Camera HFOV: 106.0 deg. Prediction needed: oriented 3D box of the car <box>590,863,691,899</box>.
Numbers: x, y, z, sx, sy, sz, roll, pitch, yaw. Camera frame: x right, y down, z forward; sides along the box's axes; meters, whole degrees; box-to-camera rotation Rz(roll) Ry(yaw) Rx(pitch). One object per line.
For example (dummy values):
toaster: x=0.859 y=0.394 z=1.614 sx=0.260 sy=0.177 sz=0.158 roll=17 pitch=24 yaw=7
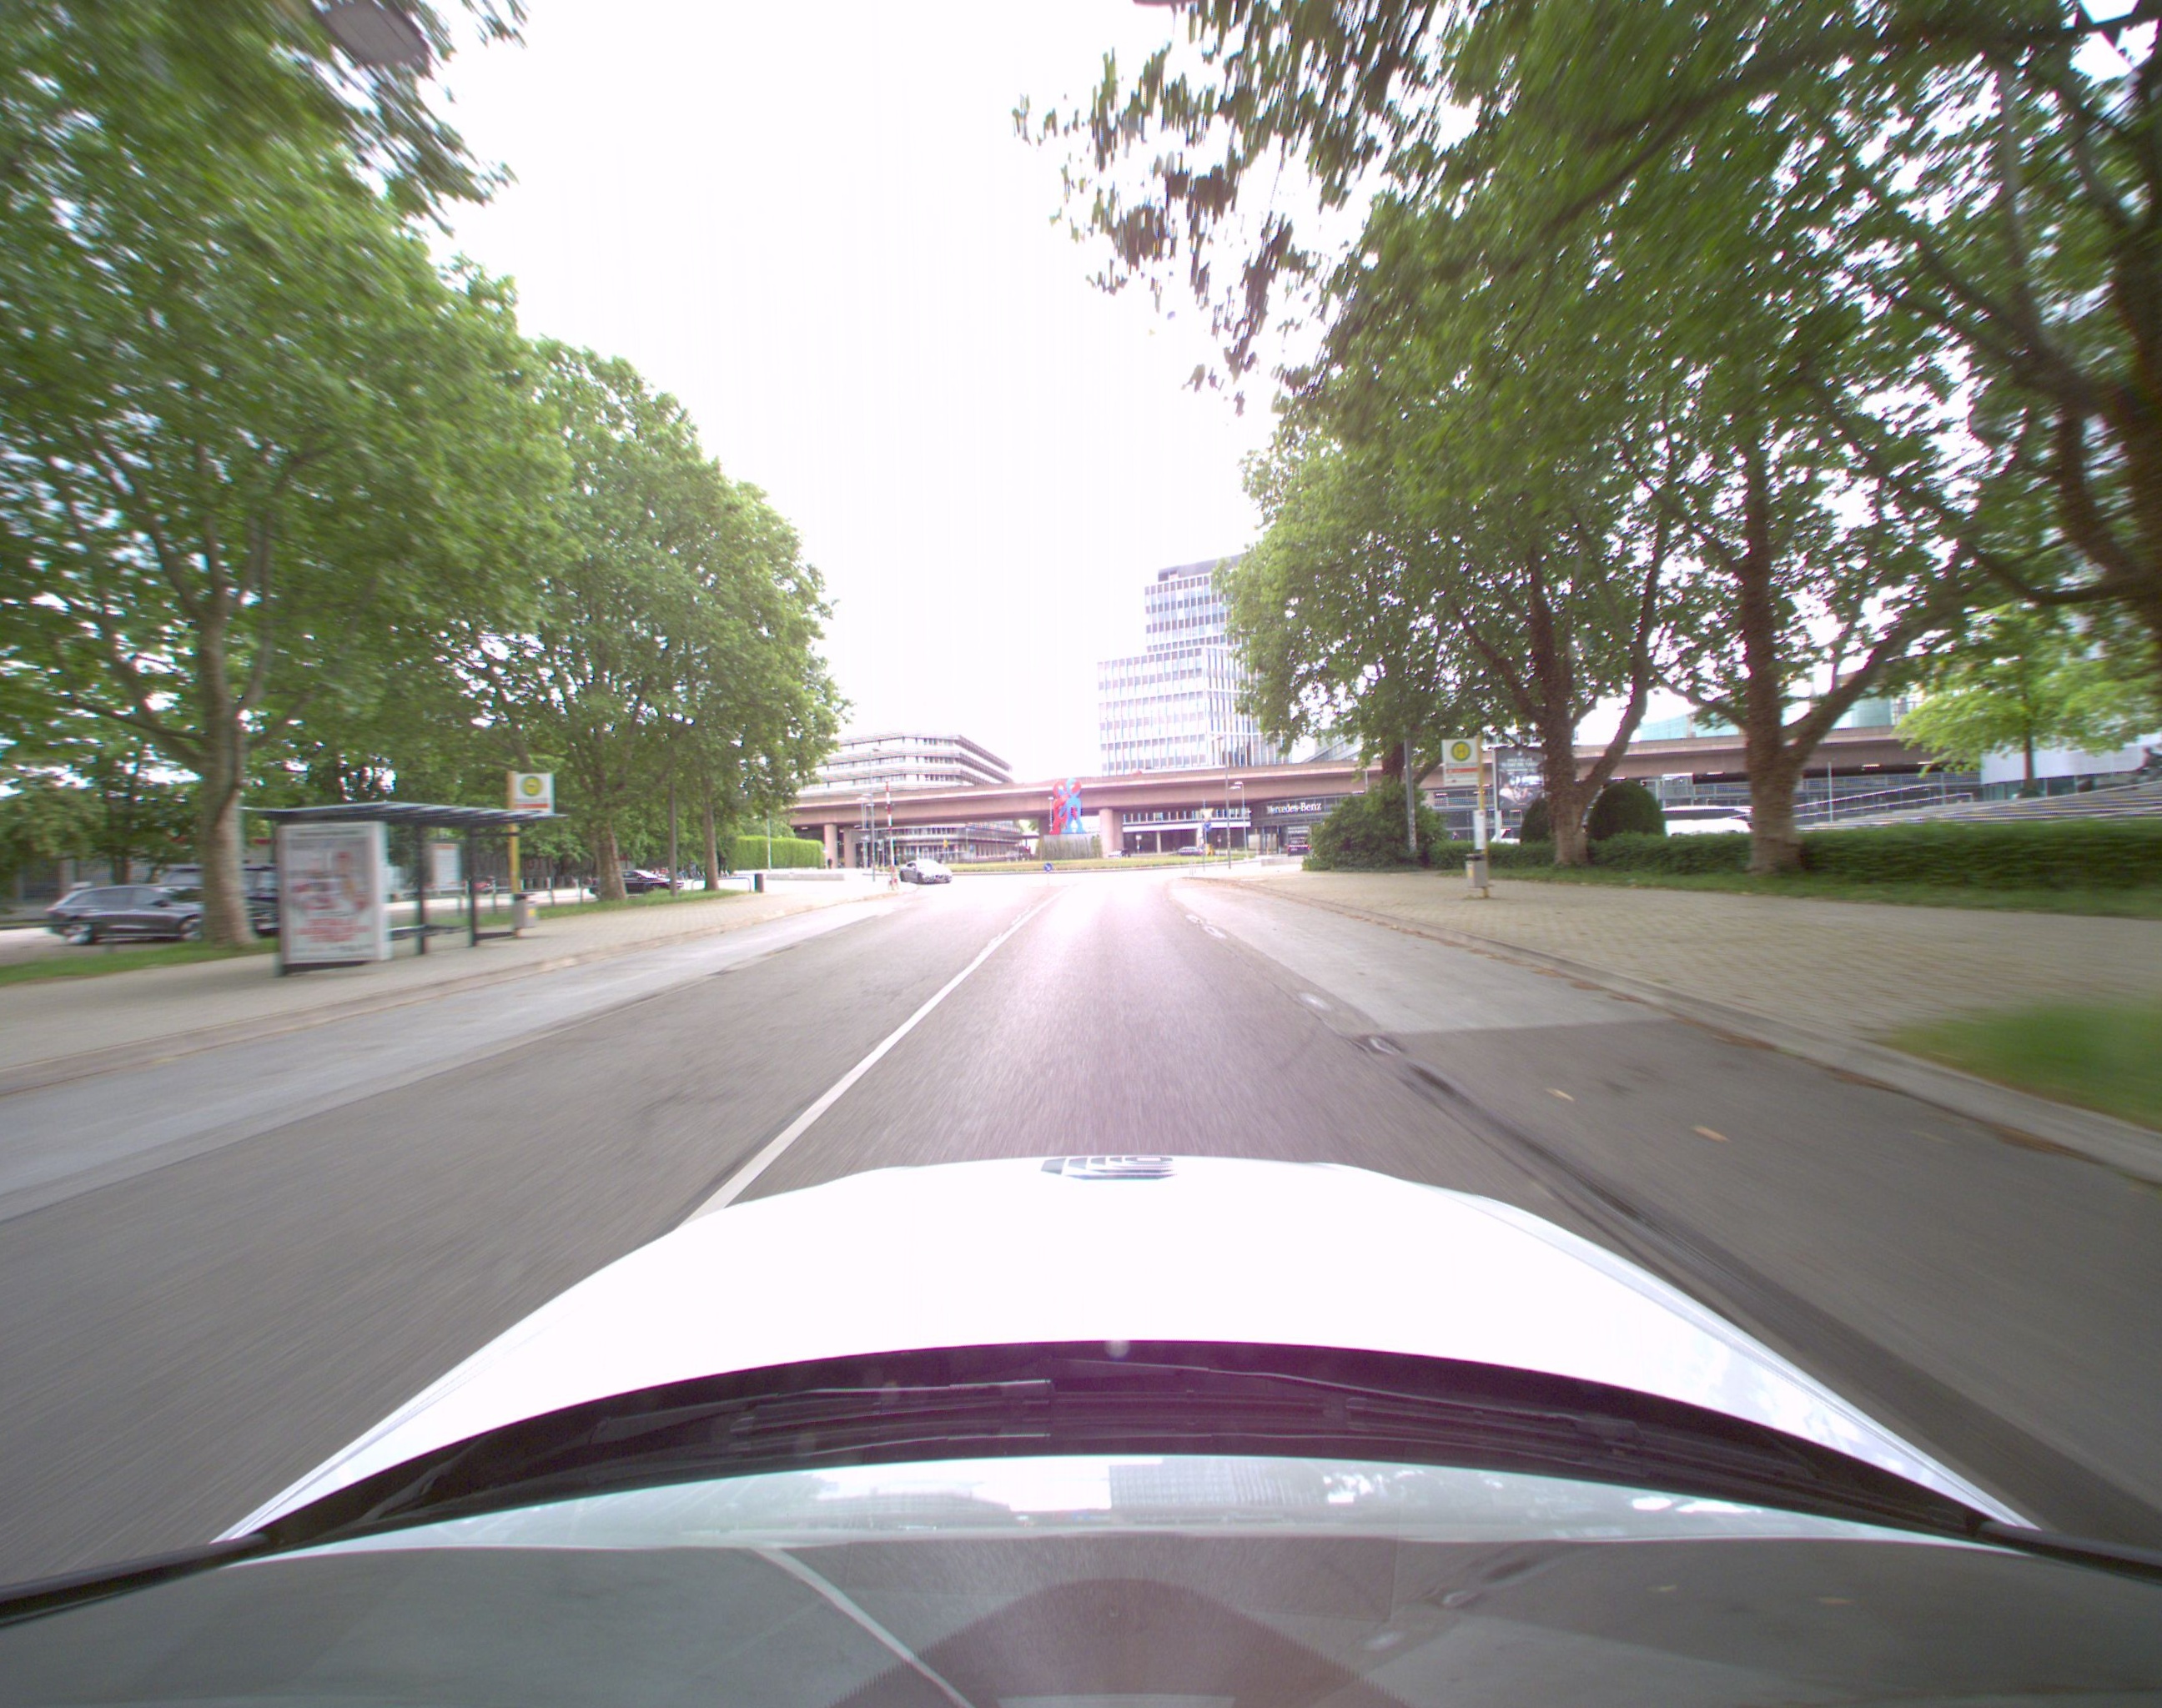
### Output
car: x=-22.667 y=1.340 z=42.093 sx=3.985 sy=1.605 sz=2.226 roll=-3 pitch=0 yaw=-9

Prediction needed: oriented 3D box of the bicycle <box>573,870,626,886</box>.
bicycle: x=-34.989 y=1.742 z=59.260 sx=3.186 sy=1.097 sz=0.769 roll=-1 pitch=0 yaw=-15

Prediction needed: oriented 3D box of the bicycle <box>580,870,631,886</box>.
bicycle: x=-35.132 y=1.751 z=60.226 sx=3.186 sy=1.097 sz=0.769 roll=-1 pitch=0 yaw=-15

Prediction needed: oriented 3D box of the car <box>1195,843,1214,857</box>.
car: x=18.287 y=-0.581 z=120.359 sx=1.977 sy=2.013 sz=4.019 roll=-2 pitch=0 yaw=18

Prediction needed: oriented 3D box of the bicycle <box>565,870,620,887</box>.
bicycle: x=-34.459 y=1.724 z=57.501 sx=3.186 sy=1.097 sz=0.769 roll=-1 pitch=0 yaw=-15

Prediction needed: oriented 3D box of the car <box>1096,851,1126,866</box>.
car: x=3.800 y=0.528 z=103.167 sx=1.974 sy=1.772 sz=4.026 roll=-2 pitch=0 yaw=34

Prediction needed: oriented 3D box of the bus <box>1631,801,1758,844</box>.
bus: x=61.901 y=-3.188 z=82.292 sx=11.022 sy=3.934 sz=2.755 roll=-2 pitch=0 yaw=-3

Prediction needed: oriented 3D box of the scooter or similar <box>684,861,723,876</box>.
scooter or similar: x=-35.320 y=1.339 z=76.159 sx=3.187 sy=1.249 sz=0.769 roll=-2 pitch=0 yaw=-16

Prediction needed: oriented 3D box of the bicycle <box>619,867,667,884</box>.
bicycle: x=-34.852 y=1.718 z=64.808 sx=3.187 sy=1.097 sz=0.769 roll=-3 pitch=0 yaw=-16

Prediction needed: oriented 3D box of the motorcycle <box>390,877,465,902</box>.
motorcycle: x=-35.054 y=1.899 z=43.708 sx=3.641 sy=1.222 sz=0.775 roll=-2 pitch=0 yaw=6

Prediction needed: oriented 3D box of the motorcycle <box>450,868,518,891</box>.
motorcycle: x=-34.915 y=1.493 z=47.624 sx=3.641 sy=1.222 sz=0.775 roll=-2 pitch=0 yaw=6

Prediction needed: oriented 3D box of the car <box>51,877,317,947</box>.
car: x=-22.926 y=1.454 z=20.964 sx=4.607 sy=1.567 sz=2.110 roll=-2 pitch=-1 yaw=2

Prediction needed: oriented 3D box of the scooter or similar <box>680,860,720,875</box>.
scooter or similar: x=-35.085 y=1.222 z=75.065 sx=3.187 sy=1.249 sz=0.769 roll=-2 pitch=0 yaw=-16

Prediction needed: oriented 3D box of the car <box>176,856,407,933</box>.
car: x=-23.055 y=1.147 z=23.929 sx=4.597 sy=2.025 sz=2.264 roll=-2 pitch=0 yaw=2

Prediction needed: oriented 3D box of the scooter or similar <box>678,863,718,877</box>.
scooter or similar: x=-34.827 y=1.451 z=74.156 sx=3.187 sy=1.097 sz=0.769 roll=-2 pitch=0 yaw=-16

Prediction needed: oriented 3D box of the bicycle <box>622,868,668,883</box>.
bicycle: x=-35.258 y=1.696 z=65.905 sx=3.187 sy=1.097 sz=0.769 roll=-2 pitch=0 yaw=-16

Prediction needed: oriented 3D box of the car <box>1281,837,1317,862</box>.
car: x=18.737 y=-0.405 z=69.995 sx=2.256 sy=2.013 sz=4.810 roll=-2 pitch=0 yaw=23

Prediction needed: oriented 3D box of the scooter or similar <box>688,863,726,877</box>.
scooter or similar: x=-36.056 y=1.561 z=78.617 sx=3.187 sy=1.249 sz=0.769 roll=-2 pitch=0 yaw=-16

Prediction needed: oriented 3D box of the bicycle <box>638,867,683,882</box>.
bicycle: x=-35.333 y=1.707 z=68.451 sx=3.187 sy=1.097 sz=0.769 roll=-2 pitch=0 yaw=-16

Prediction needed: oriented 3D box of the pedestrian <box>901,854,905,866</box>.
pedestrian: x=-30.454 y=0.954 z=139.508 sx=0.588 sy=2.013 sz=0.597 roll=-1 pitch=0 yaw=-11

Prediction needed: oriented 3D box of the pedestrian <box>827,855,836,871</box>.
pedestrian: x=-31.707 y=1.093 z=103.444 sx=1.043 sy=2.013 sz=0.597 roll=-1 pitch=0 yaw=-11

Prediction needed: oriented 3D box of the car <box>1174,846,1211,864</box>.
car: x=12.518 y=0.079 z=91.477 sx=3.691 sy=1.926 sz=1.930 roll=-2 pitch=0 yaw=18

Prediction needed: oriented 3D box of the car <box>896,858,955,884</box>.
car: x=-9.866 y=1.080 z=51.471 sx=1.914 sy=1.453 sz=4.764 roll=-4 pitch=1 yaw=-33

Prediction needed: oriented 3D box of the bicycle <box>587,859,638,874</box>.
bicycle: x=-35.416 y=0.931 z=61.576 sx=3.186 sy=1.097 sz=0.769 roll=-1 pitch=0 yaw=-15
